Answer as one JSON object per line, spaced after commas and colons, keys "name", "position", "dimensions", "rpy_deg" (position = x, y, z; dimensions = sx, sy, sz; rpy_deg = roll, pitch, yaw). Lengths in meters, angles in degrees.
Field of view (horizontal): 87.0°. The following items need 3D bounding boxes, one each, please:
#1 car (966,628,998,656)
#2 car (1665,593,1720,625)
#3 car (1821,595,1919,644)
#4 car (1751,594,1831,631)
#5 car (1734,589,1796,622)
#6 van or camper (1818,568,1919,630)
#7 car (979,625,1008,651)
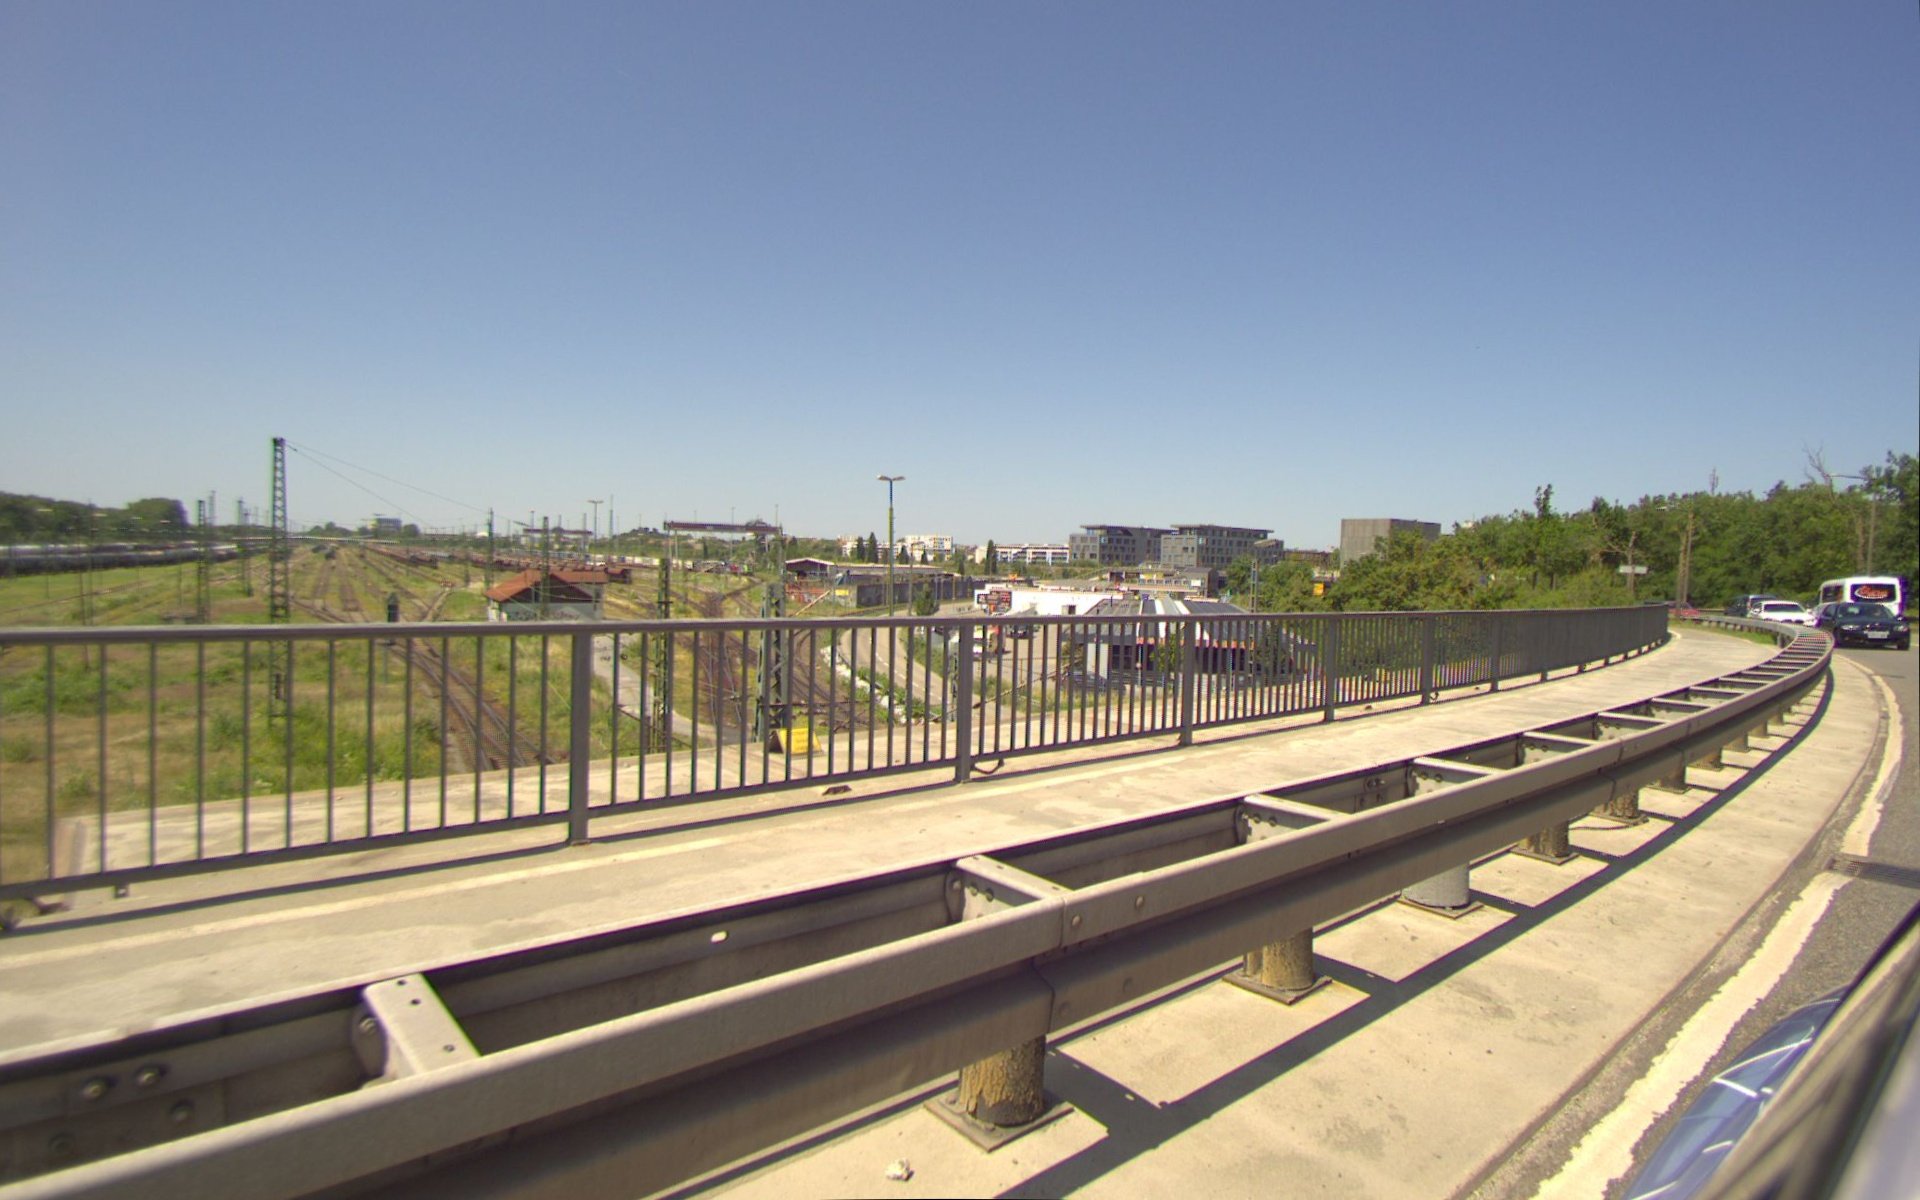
{"name": "car", "position": [2.097, 3.974, 96.480], "dimensions": [2.119, 2.382, 4.912], "rpy_deg": [-4, -1, 11]}
{"name": "car", "position": [43.906, 0.503, 60.744], "dimensions": [1.882, 1.675, 4.222], "rpy_deg": [1, 2, 25]}
{"name": "car", "position": [28.191, 0.553, 31.331], "dimensions": [1.557, 1.434, 4.079], "rpy_deg": [0, 0, 30]}
{"name": "car", "position": [34.319, 0.489, 41.872], "dimensions": [1.800, 1.446, 3.680], "rpy_deg": [0, 0, 27]}
{"name": "car", "position": [47.570, 0.314, 59.893], "dimensions": [1.742, 1.878, 4.242], "rpy_deg": [0, 1, 23]}
{"name": "van or camper", "position": [41.253, -0.041, 46.069], "dimensions": [2.035, 2.570, 5.825], "rpy_deg": [-2, -1, 28]}
{"name": "car", "position": [3.480, 3.837, 103.282], "dimensions": [2.118, 2.382, 4.913], "rpy_deg": [-4, -1, 11]}
